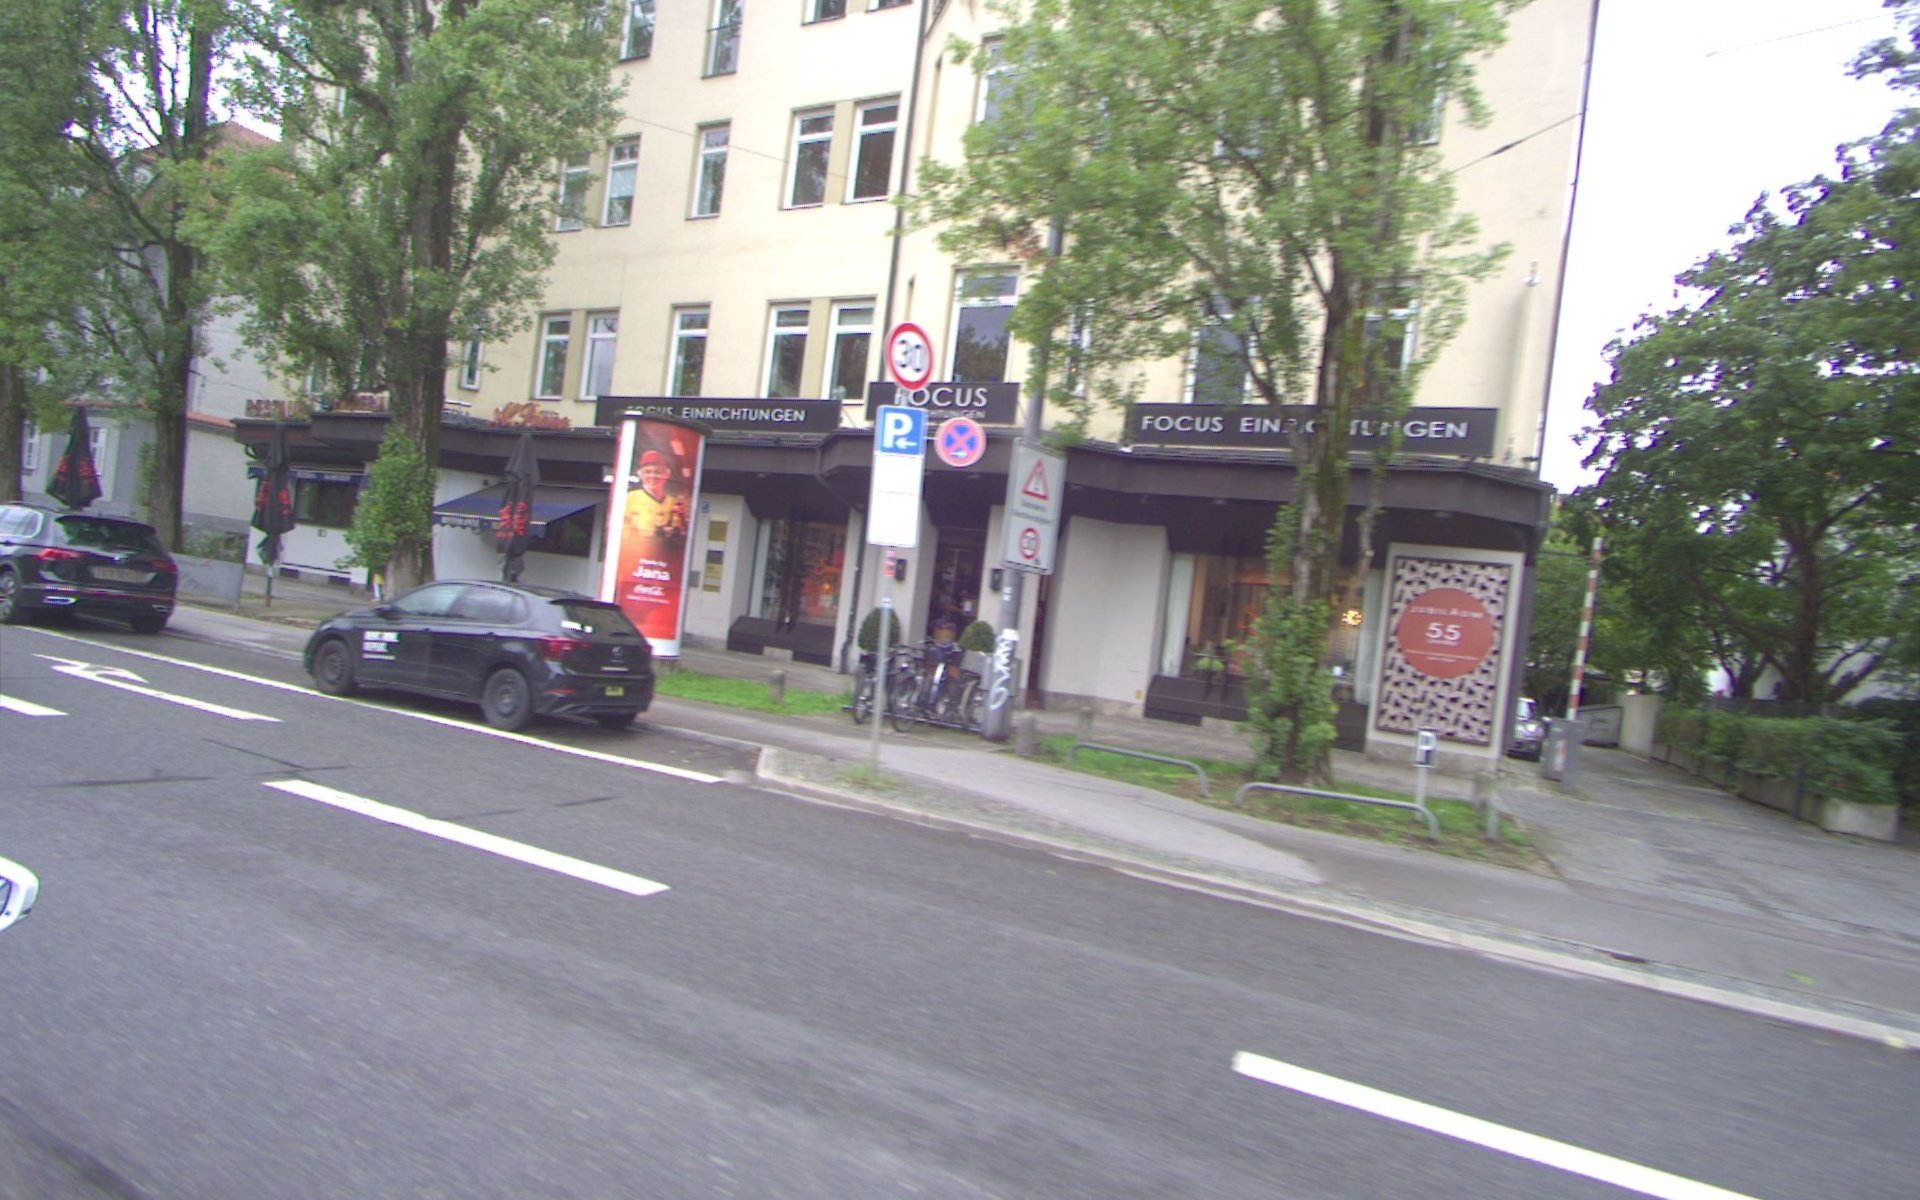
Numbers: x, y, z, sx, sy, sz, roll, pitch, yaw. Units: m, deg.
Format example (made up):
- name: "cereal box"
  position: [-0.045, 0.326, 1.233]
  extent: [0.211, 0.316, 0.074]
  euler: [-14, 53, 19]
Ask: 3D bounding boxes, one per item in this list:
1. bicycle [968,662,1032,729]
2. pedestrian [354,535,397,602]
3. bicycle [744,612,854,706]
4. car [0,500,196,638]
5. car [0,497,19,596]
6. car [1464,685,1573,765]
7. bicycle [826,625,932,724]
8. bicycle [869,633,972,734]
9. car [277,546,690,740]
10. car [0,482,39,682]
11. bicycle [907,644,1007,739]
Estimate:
- name: "bicycle"
  position: [0.606, 1.387, 14.750]
  extent: [0.382, 0.894, 1.371]
  euler: [7, -1, 23]
- name: "pedestrian"
  position: [-14.669, -0.788, 25.267]
  extent: [0.487, 1.581, 0.574]
  euler: [9, 0, 27]
- name: "bicycle"
  position: [-2.242, 0.850, 14.300]
  extent: [0.487, 1.199, 1.889]
  euler: [7, -1, 23]
- name: "car"
  position: [-13.467, -0.558, 14.730]
  extent: [4.391, 1.632, 1.725]
  euler: [7, 0, 26]
- name: "car"
  position: [-18.271, -1.170, 17.119]
  extent: [4.229, 1.632, 1.804]
  euler: [7, 0, 26]
- name: "car"
  position: [13.352, 2.924, 24.250]
  extent: [1.699, 1.459, 4.000]
  euler: [7, -1, 23]
- name: "bicycle"
  position: [-1.061, 1.006, 13.695]
  extent: [0.487, 1.199, 1.889]
  euler: [7, -1, 23]
- name: "bicycle"
  position: [-0.483, 1.093, 13.317]
  extent: [0.487, 1.199, 1.889]
  euler: [7, -1, 23]
- name: "car"
  position: [-5.193, 0.431, 11.002]
  extent: [3.927, 1.483, 1.805]
  euler: [7, -1, 23]
- name: "car"
  position: [-9.935, -0.461, 8.083]
  extent: [4.617, 1.568, 1.869]
  euler: [8, 0, 22]
- name: "bicycle"
  position: [-0.003, 1.176, 13.132]
  extent: [0.487, 1.095, 1.889]
  euler: [7, -1, 23]
